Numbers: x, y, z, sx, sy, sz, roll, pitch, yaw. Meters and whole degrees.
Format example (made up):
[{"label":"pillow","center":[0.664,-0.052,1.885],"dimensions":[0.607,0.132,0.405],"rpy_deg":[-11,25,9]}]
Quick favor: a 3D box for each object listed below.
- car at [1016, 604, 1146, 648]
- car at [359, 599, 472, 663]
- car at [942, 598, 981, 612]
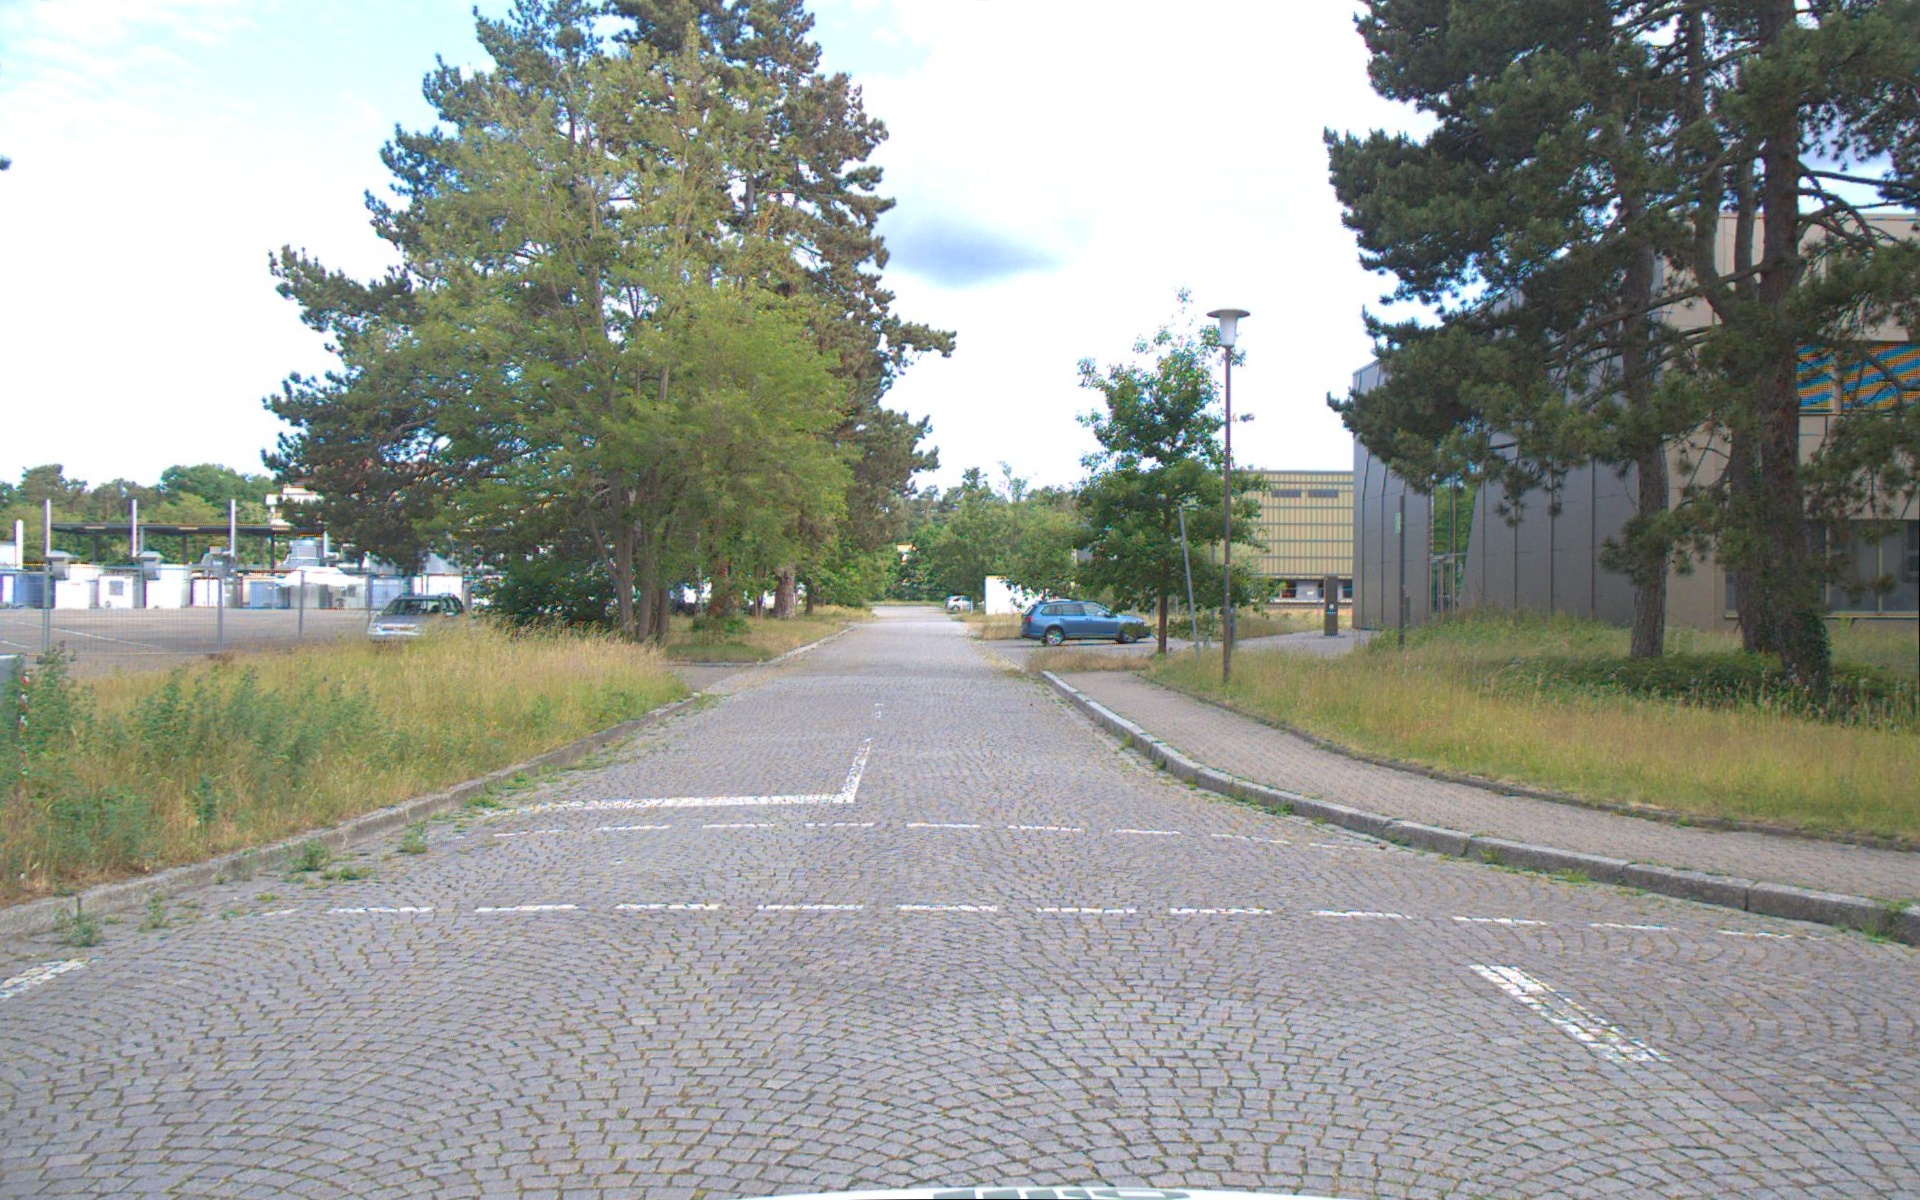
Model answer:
[{"label":"car","center":[4.137,0.879,56.921],"dimensions":[4.258,1.447,1.999],"rpy_deg":[0,0,-4]},{"label":"car","center":[-13.606,0.730,41.546],"dimensions":[1.580,1.513,3.999],"rpy_deg":[0,0,-2]},{"label":"car","center":[0.159,0.547,173.896],"dimensions":[3.911,1.422,1.997],"rpy_deg":[0,0,-8]}]
